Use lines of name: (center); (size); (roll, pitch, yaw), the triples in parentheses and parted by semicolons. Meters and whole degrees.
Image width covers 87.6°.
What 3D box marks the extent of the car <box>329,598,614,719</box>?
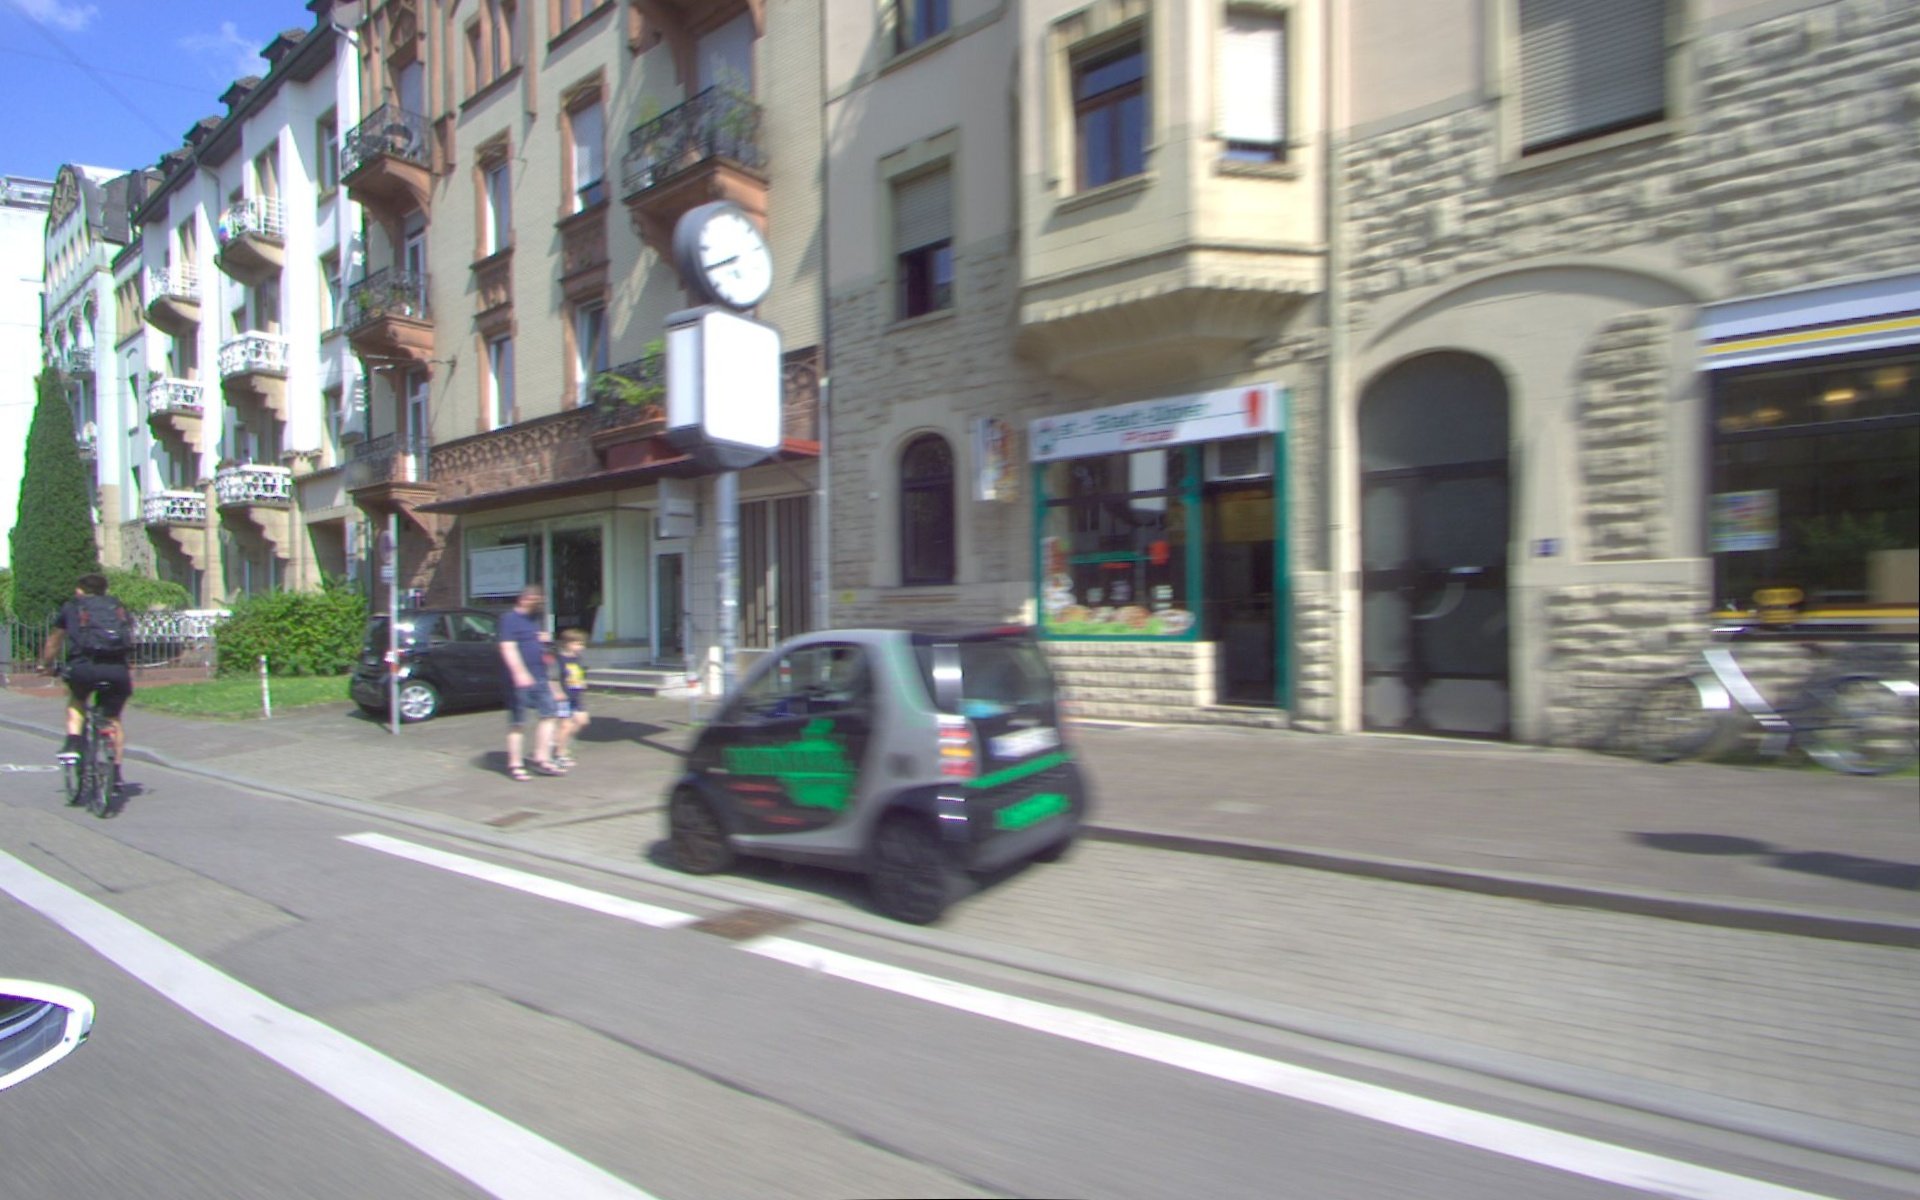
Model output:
car: (-7.349, 0.795, 15.262); (1.949, 1.544, 3.384); (-1, 1, 41)

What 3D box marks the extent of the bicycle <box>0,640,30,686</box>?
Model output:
bicycle: (-22.590, 1.460, 23.425); (3.026, 0.974, 0.596); (-1, 3, 36)

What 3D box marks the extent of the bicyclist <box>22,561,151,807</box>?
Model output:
bicyclist: (-7.530, 0.702, 8.631); (1.116, 1.972, 0.605); (-1, -3, 39)

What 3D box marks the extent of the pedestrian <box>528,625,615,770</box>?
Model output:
pedestrian: (-3.854, 0.949, 9.957); (0.436, 1.344, 0.568); (-1, 4, 31)

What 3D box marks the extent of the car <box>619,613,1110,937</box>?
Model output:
car: (-0.648, 0.886, 6.310); (2.758, 1.519, 1.508); (-1, 2, 37)

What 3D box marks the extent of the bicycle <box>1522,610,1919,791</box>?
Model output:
bicycle: (5.797, 0.700, 7.474); (2.716, 1.192, 0.802); (-2, -3, 36)

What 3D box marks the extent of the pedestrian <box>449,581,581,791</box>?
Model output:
pedestrian: (-4.205, 0.775, 9.474); (0.860, 1.867, 0.657); (-1, 4, 31)

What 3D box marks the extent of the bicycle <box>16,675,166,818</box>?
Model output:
bicycle: (-7.550, 1.211, 8.674); (1.814, 1.058, 0.613); (-3, 1, 39)
